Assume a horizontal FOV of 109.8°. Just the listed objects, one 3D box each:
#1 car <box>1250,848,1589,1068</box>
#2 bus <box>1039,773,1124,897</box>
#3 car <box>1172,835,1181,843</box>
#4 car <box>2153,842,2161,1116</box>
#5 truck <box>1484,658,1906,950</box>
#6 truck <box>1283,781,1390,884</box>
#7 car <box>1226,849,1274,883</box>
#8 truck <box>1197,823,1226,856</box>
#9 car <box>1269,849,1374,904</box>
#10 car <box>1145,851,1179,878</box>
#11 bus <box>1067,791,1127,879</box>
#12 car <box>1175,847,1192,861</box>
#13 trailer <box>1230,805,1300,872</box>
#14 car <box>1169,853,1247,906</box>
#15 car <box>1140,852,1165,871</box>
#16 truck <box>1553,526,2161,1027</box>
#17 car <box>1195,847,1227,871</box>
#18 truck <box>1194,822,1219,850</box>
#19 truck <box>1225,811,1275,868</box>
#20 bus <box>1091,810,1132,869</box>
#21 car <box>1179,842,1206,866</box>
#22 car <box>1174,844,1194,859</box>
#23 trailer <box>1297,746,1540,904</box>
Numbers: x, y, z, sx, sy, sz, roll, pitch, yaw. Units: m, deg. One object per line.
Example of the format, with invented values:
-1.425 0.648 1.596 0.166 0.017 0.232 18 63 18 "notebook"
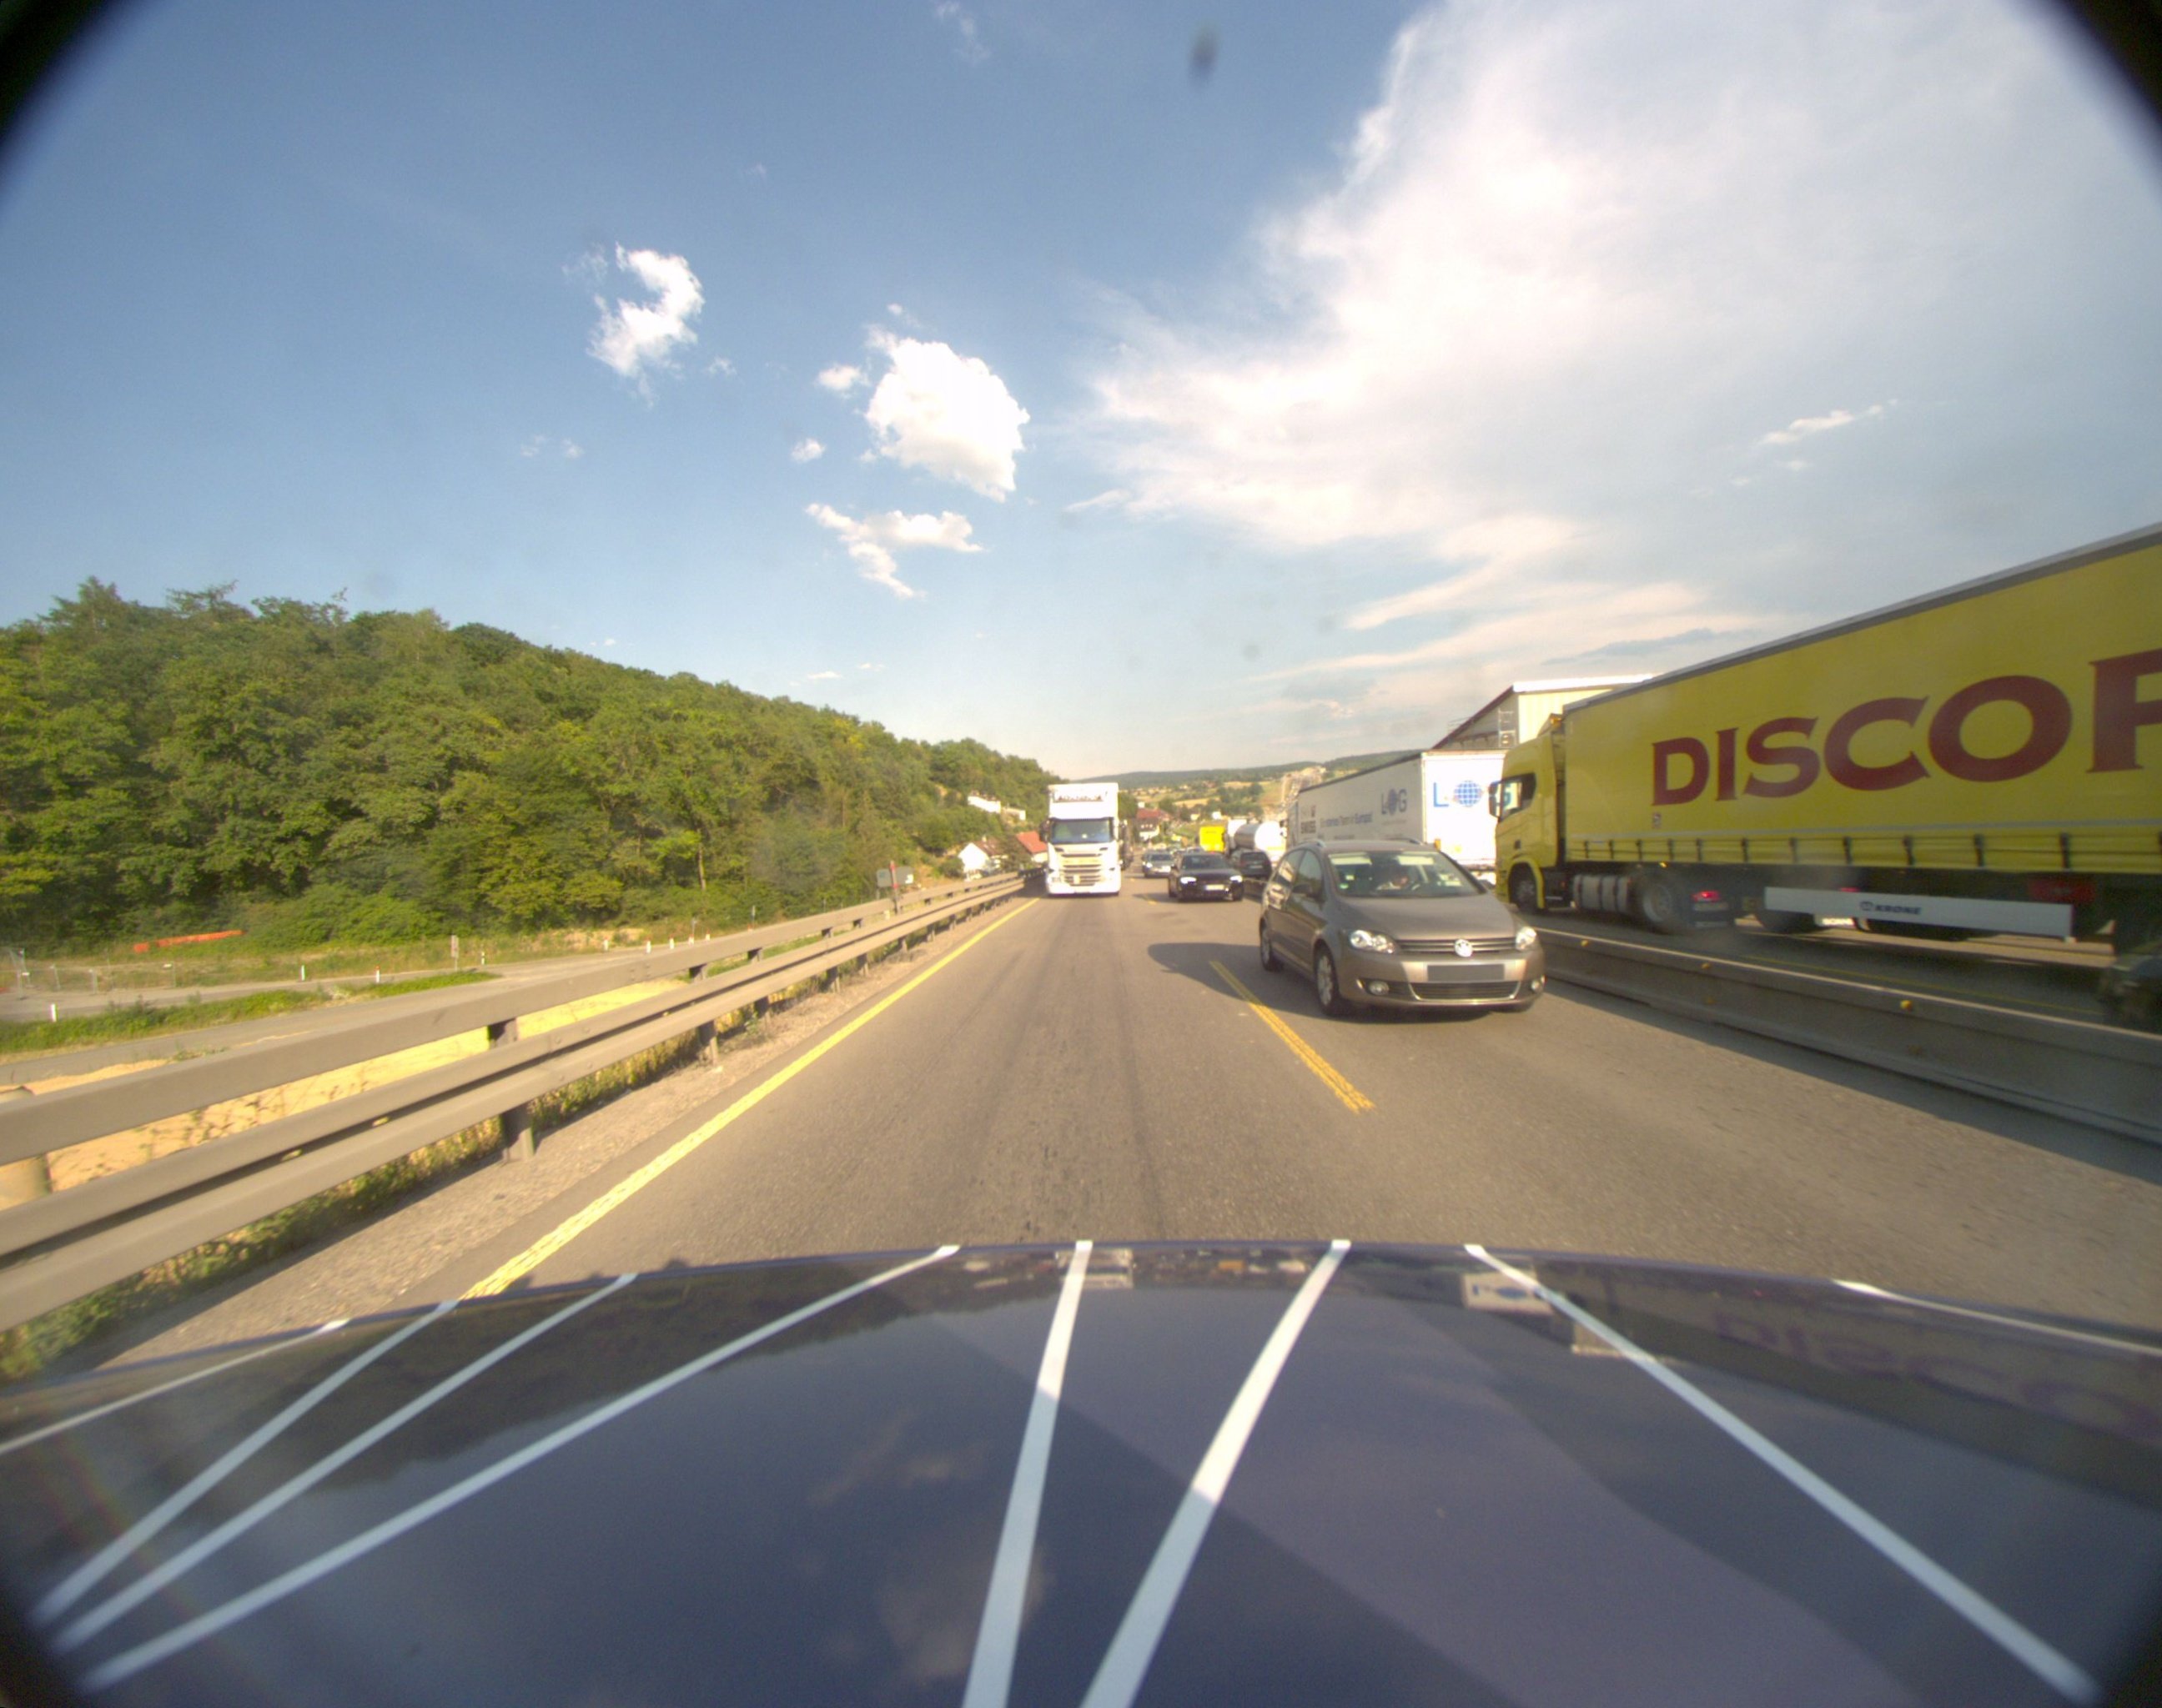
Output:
2.954 0.763 7.667 1.688 1.565 4.099 -2 1 2 "car"
0.340 -0.704 30.748 2.634 4.077 11.315 -1 1 4 "bus"
26.646 -4.208 212.585 1.822 1.987 4.754 1 -1 -2 "car"
6.783 0.683 2.079 1.658 1.514 4.286 -2 1 0 "car"
10.228 -0.728 13.720 2.720 4.064 6.100 -1 1 1 "truck"
10.980 -0.894 33.319 2.850 4.013 6.101 -1 1 3 "truck"
7.986 0.509 36.207 1.659 1.421 4.566 -2 1 6 "car"
15.704 -1.772 91.963 2.899 3.689 9.492 -1 1 7 "truck"
7.189 0.603 23.227 1.812 1.417 4.673 -2 1 1 "car"
4.536 0.569 43.071 1.698 1.390 4.001 -3 0 4 "car"
1.150 -1.004 45.026 2.984 4.553 9.969 -1 0 4 "bus"
11.479 -0.021 85.261 1.728 1.521 4.001 -2 1 6 "car"
11.872 -0.967 50.085 2.603 3.858 10.578 -1 1 4 "trailer"
3.745 0.697 23.011 1.866 1.391 4.000 -1 1 3 "car"
5.160 0.513 55.031 1.627 1.239 4.000 -2 1 3 "car"
10.144 -0.653 7.207 2.714 4.064 14.152 -1 1 1 "truck"
8.706 0.300 51.192 1.661 1.501 3.690 -2 1 3 "car"
17.760 -2.542 107.977 2.899 3.861 9.491 -1 1 6 "truck"
12.202 -1.027 55.387 2.605 3.865 6.203 -1 1 4 "truck"
2.752 -1.180 65.091 2.984 4.553 10.906 -1 0 5 "bus"
9.173 0.010 62.859 1.866 1.899 4.000 -1 1 3 "car"
10.338 -0.255 76.463 1.798 1.405 4.001 2 1 5 "car"
10.666 -0.817 26.526 2.864 4.012 13.971 -1 1 3 "trailer"
